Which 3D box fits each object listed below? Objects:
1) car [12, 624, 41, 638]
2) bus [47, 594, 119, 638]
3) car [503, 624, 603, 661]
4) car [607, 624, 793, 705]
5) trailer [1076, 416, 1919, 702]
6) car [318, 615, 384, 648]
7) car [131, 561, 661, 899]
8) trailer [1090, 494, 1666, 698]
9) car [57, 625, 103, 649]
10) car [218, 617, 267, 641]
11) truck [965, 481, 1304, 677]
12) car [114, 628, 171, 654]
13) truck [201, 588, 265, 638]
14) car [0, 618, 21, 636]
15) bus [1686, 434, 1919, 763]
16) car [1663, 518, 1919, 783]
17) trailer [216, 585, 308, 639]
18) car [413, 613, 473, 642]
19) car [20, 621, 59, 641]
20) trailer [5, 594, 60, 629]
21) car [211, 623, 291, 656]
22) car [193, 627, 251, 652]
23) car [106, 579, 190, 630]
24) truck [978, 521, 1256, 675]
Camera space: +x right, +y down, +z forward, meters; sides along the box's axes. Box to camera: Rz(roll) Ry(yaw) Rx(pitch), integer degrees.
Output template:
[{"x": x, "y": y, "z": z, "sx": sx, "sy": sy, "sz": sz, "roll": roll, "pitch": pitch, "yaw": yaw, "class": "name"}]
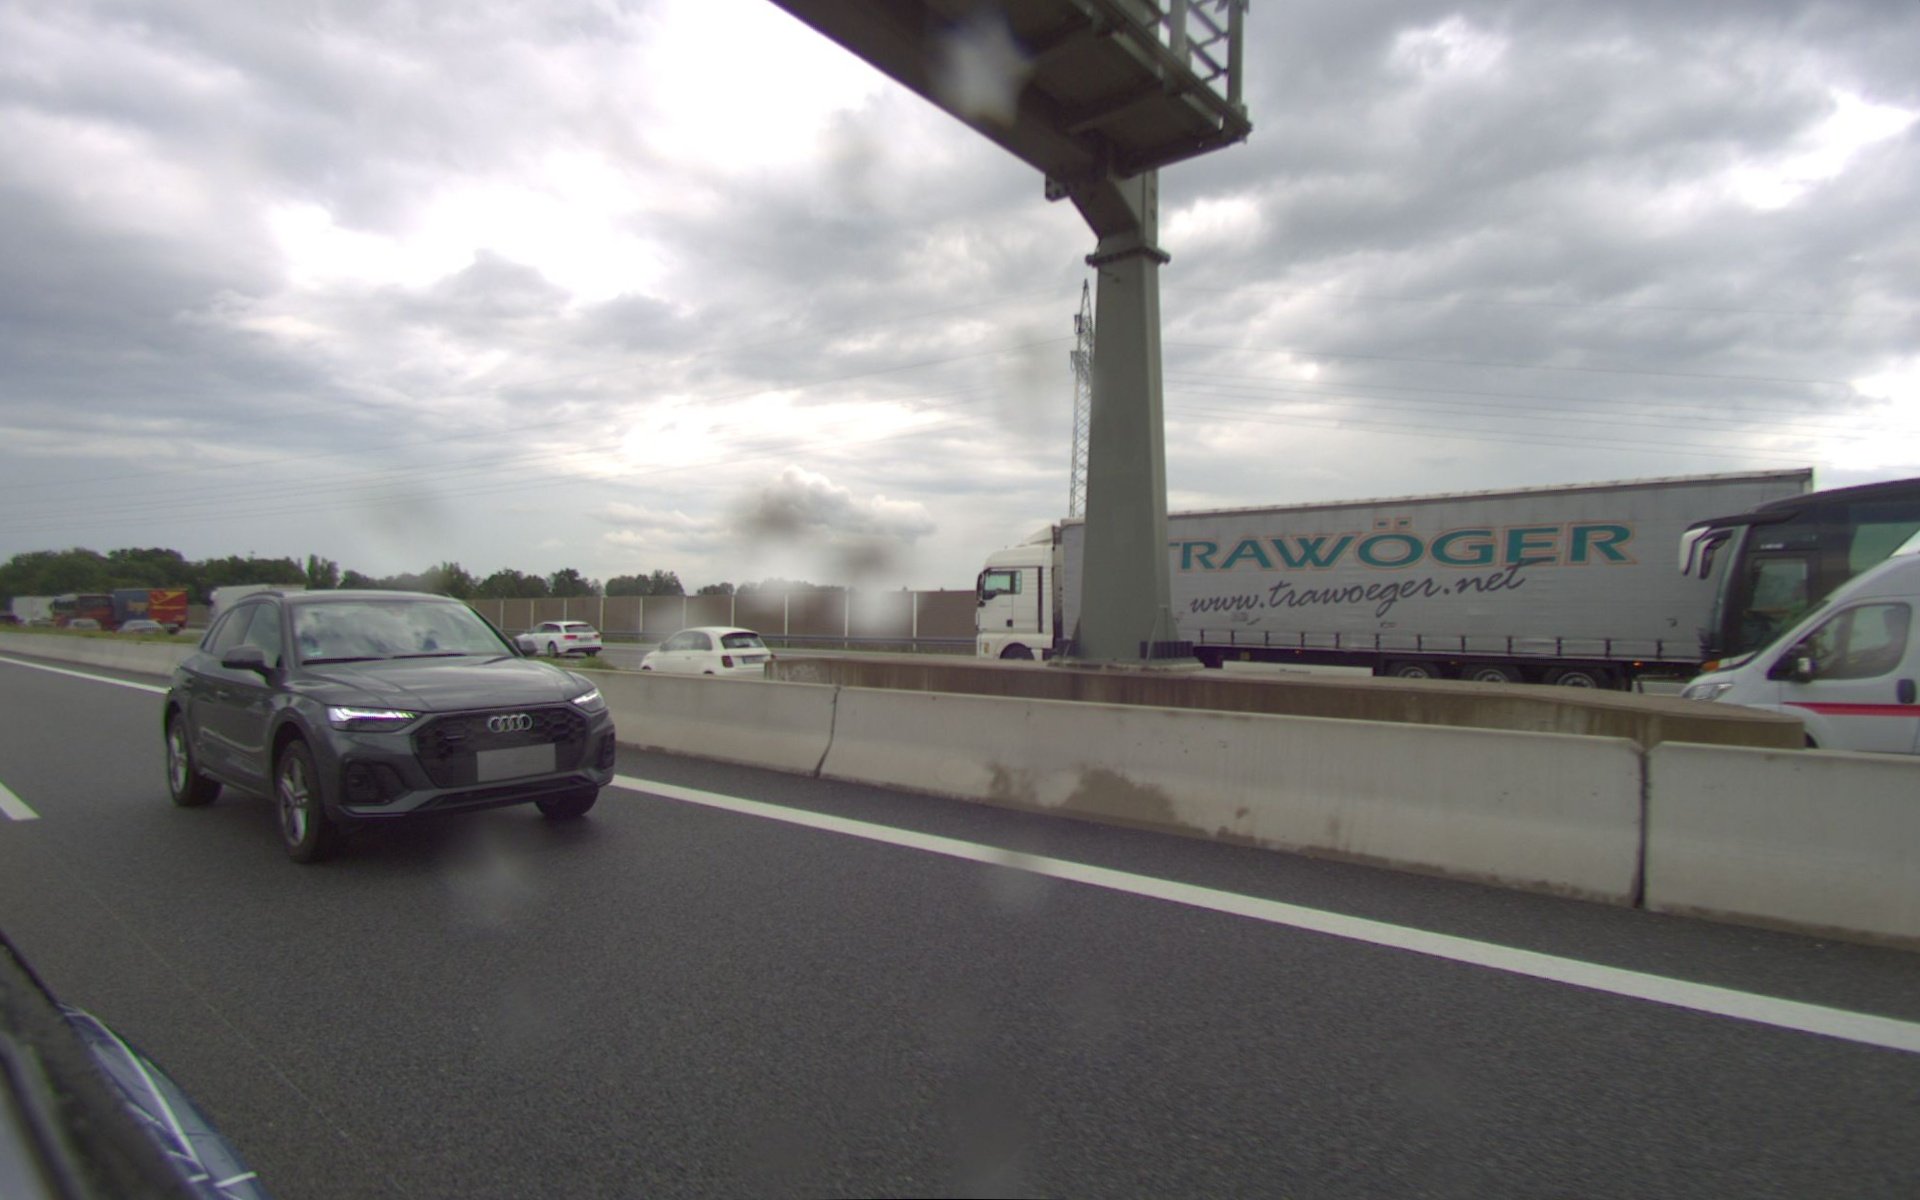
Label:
[{"x": -101.070, "y": 3.305, "z": 109.537, "sx": 4.561, "sy": 1.466, "sz": 1.769, "roll": -1, "pitch": 0, "yaw": 40, "class": "car"}, {"x": -78.153, "y": 1.446, "z": 90.023, "sx": 12.748, "sy": 3.638, "sz": 2.861, "roll": -1, "pitch": 0, "yaw": 40, "class": "bus"}, {"x": -16.896, "y": 1.712, "z": 41.932, "sx": 4.857, "sy": 1.392, "sz": 1.769, "roll": -1, "pitch": 0, "yaw": 40, "class": "car"}, {"x": -5.762, "y": 1.334, "z": 22.185, "sx": 4.373, "sy": 1.551, "sz": 1.719, "roll": -1, "pitch": 0, "yaw": 40, "class": "car"}, {"x": 9.034, "y": -0.484, "z": 19.773, "sx": 14.290, "sy": 3.991, "sz": 2.856, "roll": -1, "pitch": 0, "yaw": 41, "class": "trailer"}, {"x": -33.876, "y": 1.732, "z": 56.240, "sx": 4.574, "sy": 1.753, "sz": 1.772, "roll": -1, "pitch": 0, "yaw": 40, "class": "car"}, {"x": -4.479, "y": 0.692, "z": 7.553, "sx": 5.167, "sy": 1.704, "sz": 1.888, "roll": -1, "pitch": -1, "yaw": 42, "class": "car"}, {"x": 9.452, "y": -0.002, "z": 25.106, "sx": 12.970, "sy": 3.963, "sz": 2.997, "roll": -1, "pitch": -1, "yaw": 42, "class": "trailer"}, {"x": -59.189, "y": 2.452, "z": 68.034, "sx": 4.209, "sy": 1.535, "sz": 1.699, "roll": -1, "pitch": 0, "yaw": 40, "class": "car"}, {"x": -51.640, "y": 2.058, "z": 72.809, "sx": 4.578, "sy": 1.603, "sz": 1.769, "roll": -1, "pitch": 0, "yaw": 40, "class": "car"}, {"x": 3.930, "y": -0.382, "z": 24.139, "sx": 7.531, "sy": 3.991, "sz": 2.856, "roll": -1, "pitch": 0, "yaw": 41, "class": "truck"}, {"x": -48.566, "y": 2.414, "z": 60.091, "sx": 4.857, "sy": 1.437, "sz": 1.699, "roll": -1, "pitch": 0, "yaw": 40, "class": "car"}, {"x": -62.861, "y": 1.100, "z": 87.446, "sx": 6.617, "sy": 4.147, "sz": 2.871, "roll": -1, "pitch": 0, "yaw": 40, "class": "truck"}, {"x": -90.636, "y": 2.541, "z": 96.032, "sx": 4.292, "sy": 1.678, "sz": 1.769, "roll": -1, "pitch": 0, "yaw": 40, "class": "car"}, {"x": 14.048, "y": -0.030, "z": 10.283, "sx": 10.631, "sy": 3.707, "sz": 2.626, "roll": -1, "pitch": -1, "yaw": 42, "class": "bus"}, {"x": 10.000, "y": 0.423, "z": 9.221, "sx": 5.707, "sy": 2.369, "sz": 2.114, "roll": -1, "pitch": 0, "yaw": 41, "class": "car"}, {"x": -57.095, "y": 0.985, "z": 82.624, "sx": 12.688, "sy": 4.147, "sz": 2.871, "roll": -1, "pitch": 0, "yaw": 40, "class": "trailer"}, {"x": -31.007, "y": 1.632, "z": 60.633, "sx": 3.952, "sy": 1.609, "sz": 1.769, "roll": -1, "pitch": 0, "yaw": 40, "class": "car"}, {"x": -75.640, "y": 2.557, "z": 83.122, "sx": 4.561, "sy": 1.545, "sz": 1.769, "roll": -1, "pitch": 0, "yaw": 40, "class": "car"}, {"x": -117.194, "y": 1.500, "z": 127.781, "sx": 13.391, "sy": 4.139, "sz": 3.623, "roll": -1, "pitch": 0, "yaw": 41, "class": "trailer"}, {"x": -32.188, "y": 1.761, "z": 45.903, "sx": 4.857, "sy": 1.392, "sz": 1.769, "roll": -1, "pitch": 0, "yaw": 40, "class": "car"}, {"x": -44.688, "y": 2.360, "z": 61.246, "sx": 4.857, "sy": 1.437, "sz": 1.699, "roll": -1, "pitch": 0, "yaw": 40, "class": "car"}, {"x": -71.245, "y": 0.447, "z": 88.596, "sx": 14.383, "sy": 4.155, "sz": 2.953, "roll": -1, "pitch": 0, "yaw": 40, "class": "car"}, {"x": 4.394, "y": 0.008, "z": 29.651, "sx": 7.708, "sy": 3.963, "sz": 2.997, "roll": -1, "pitch": -1, "yaw": 42, "class": "truck"}]
